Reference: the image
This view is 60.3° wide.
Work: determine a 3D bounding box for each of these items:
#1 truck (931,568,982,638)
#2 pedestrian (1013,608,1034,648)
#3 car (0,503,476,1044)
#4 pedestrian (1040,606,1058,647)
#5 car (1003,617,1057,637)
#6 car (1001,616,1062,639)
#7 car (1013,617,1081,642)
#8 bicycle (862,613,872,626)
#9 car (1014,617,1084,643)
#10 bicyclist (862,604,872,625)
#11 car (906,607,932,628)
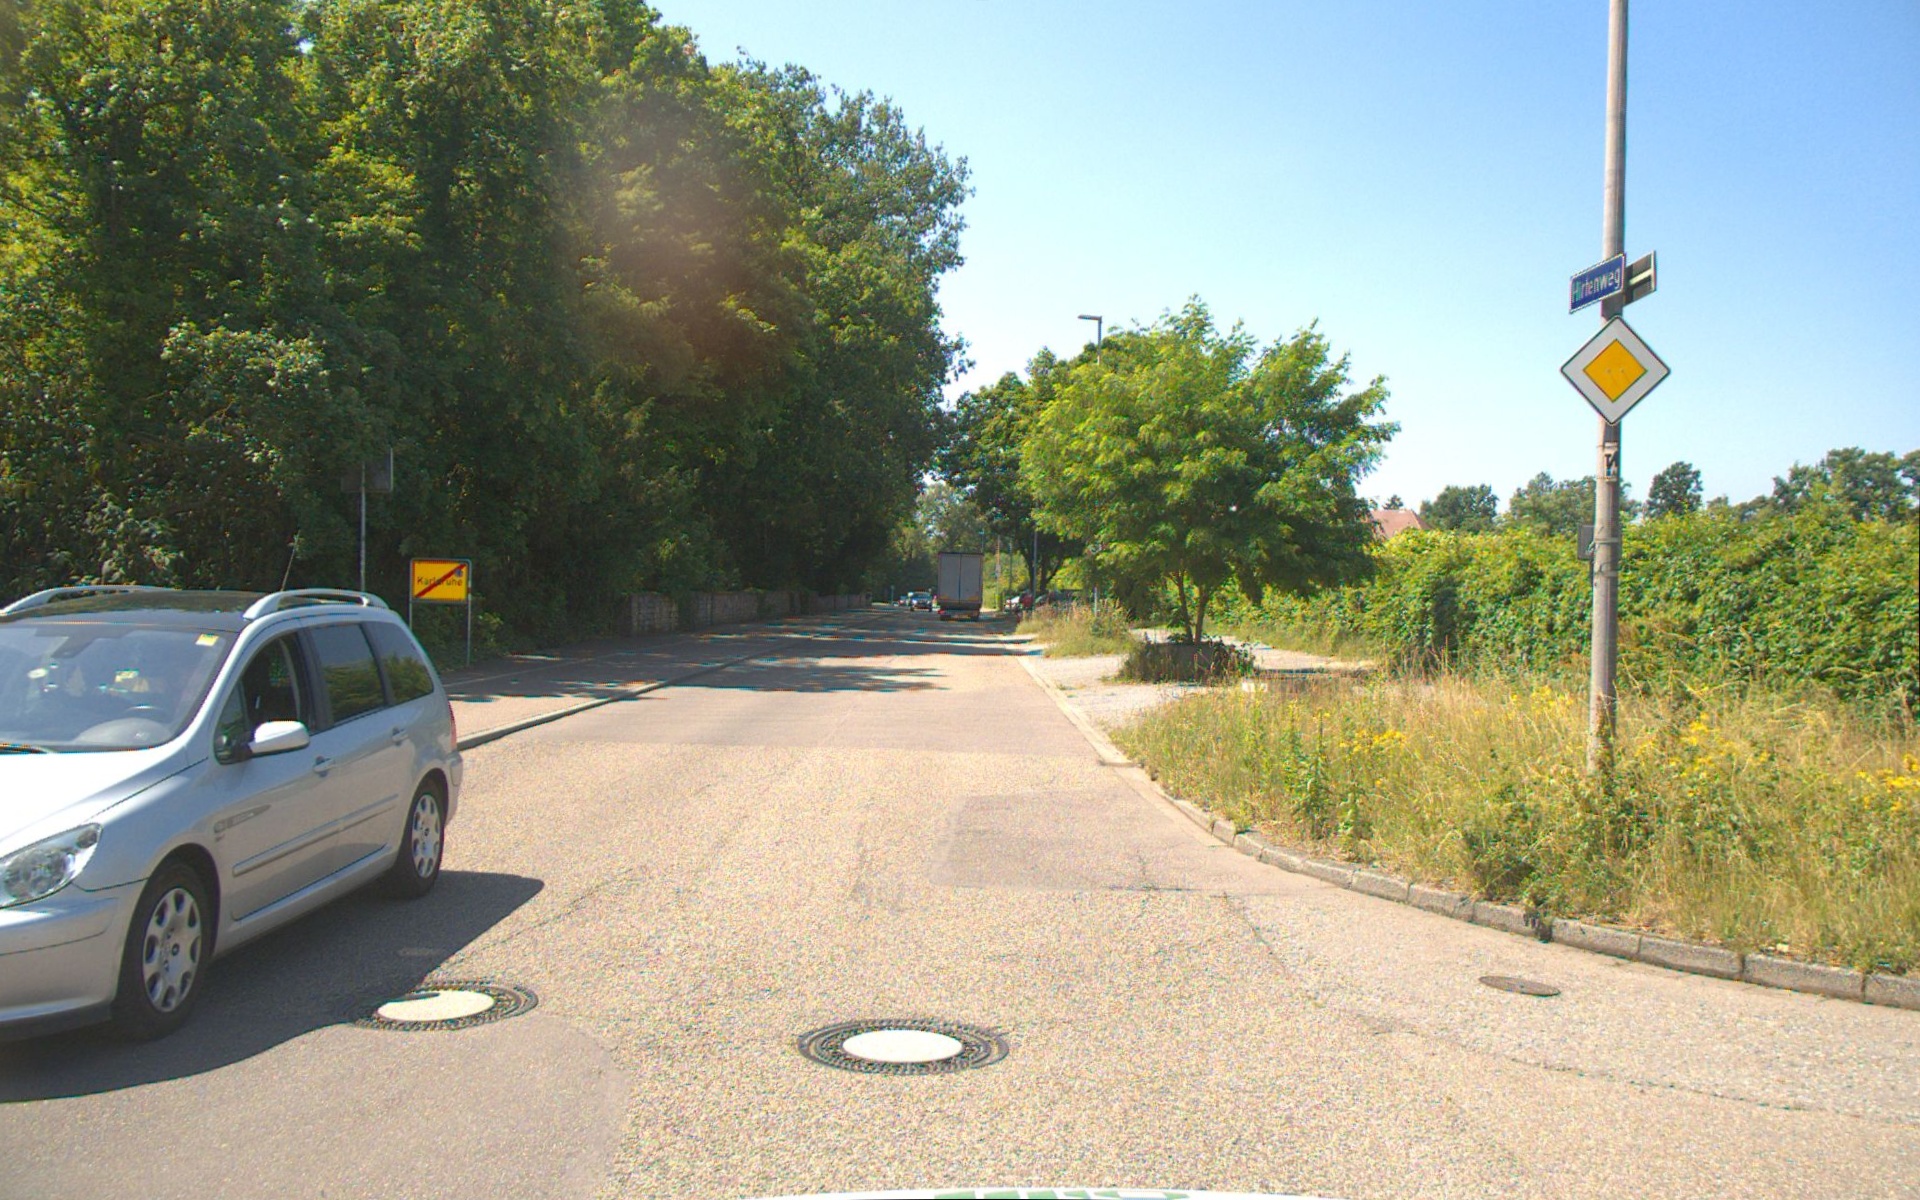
[{"bbox_3d":[-0.175,0.222,98.712,2.677,3.811,13.244,2,-1,0],"label":"truck"},{"bbox_3d":[2.775,1.210,72.074,0.846,1.707,0.885,1,-1,-2],"label":"pedestrian"},{"bbox_3d":[-3.582,0.510,7.031,1.755,1.600,4.271,1,0,0],"label":"car"},{"bbox_3d":[3.916,1.171,73.011,0.724,1.769,0.885,1,-1,-2],"label":"pedestrian"},{"bbox_3d":[5.365,2.105,127.490,4.109,1.470,1.738,1,-1,0],"label":"car"},{"bbox_3d":[4.869,1.893,113.662,4.109,1.470,1.738,1,-1,0],"label":"car"},{"bbox_3d":[5.400,1.836,102.912,4.109,1.470,1.738,1,-1,0],"label":"car"},{"bbox_3d":[-8.040,1.685,142.795,0.703,1.179,2.230,1,-1,0],"label":"bicycle"},{"bbox_3d":[5.320,1.800,99.371,4.109,1.470,1.738,1,-1,0],"label":"car"},{"bbox_3d":[-8.033,1.236,142.796,0.815,1.746,0.957,1,-1,0],"label":"bicyclist"},{"bbox_3d":[-3.402,1.482,137.550,1.953,1.713,4.262,1,-1,0],"label":"car"}]
